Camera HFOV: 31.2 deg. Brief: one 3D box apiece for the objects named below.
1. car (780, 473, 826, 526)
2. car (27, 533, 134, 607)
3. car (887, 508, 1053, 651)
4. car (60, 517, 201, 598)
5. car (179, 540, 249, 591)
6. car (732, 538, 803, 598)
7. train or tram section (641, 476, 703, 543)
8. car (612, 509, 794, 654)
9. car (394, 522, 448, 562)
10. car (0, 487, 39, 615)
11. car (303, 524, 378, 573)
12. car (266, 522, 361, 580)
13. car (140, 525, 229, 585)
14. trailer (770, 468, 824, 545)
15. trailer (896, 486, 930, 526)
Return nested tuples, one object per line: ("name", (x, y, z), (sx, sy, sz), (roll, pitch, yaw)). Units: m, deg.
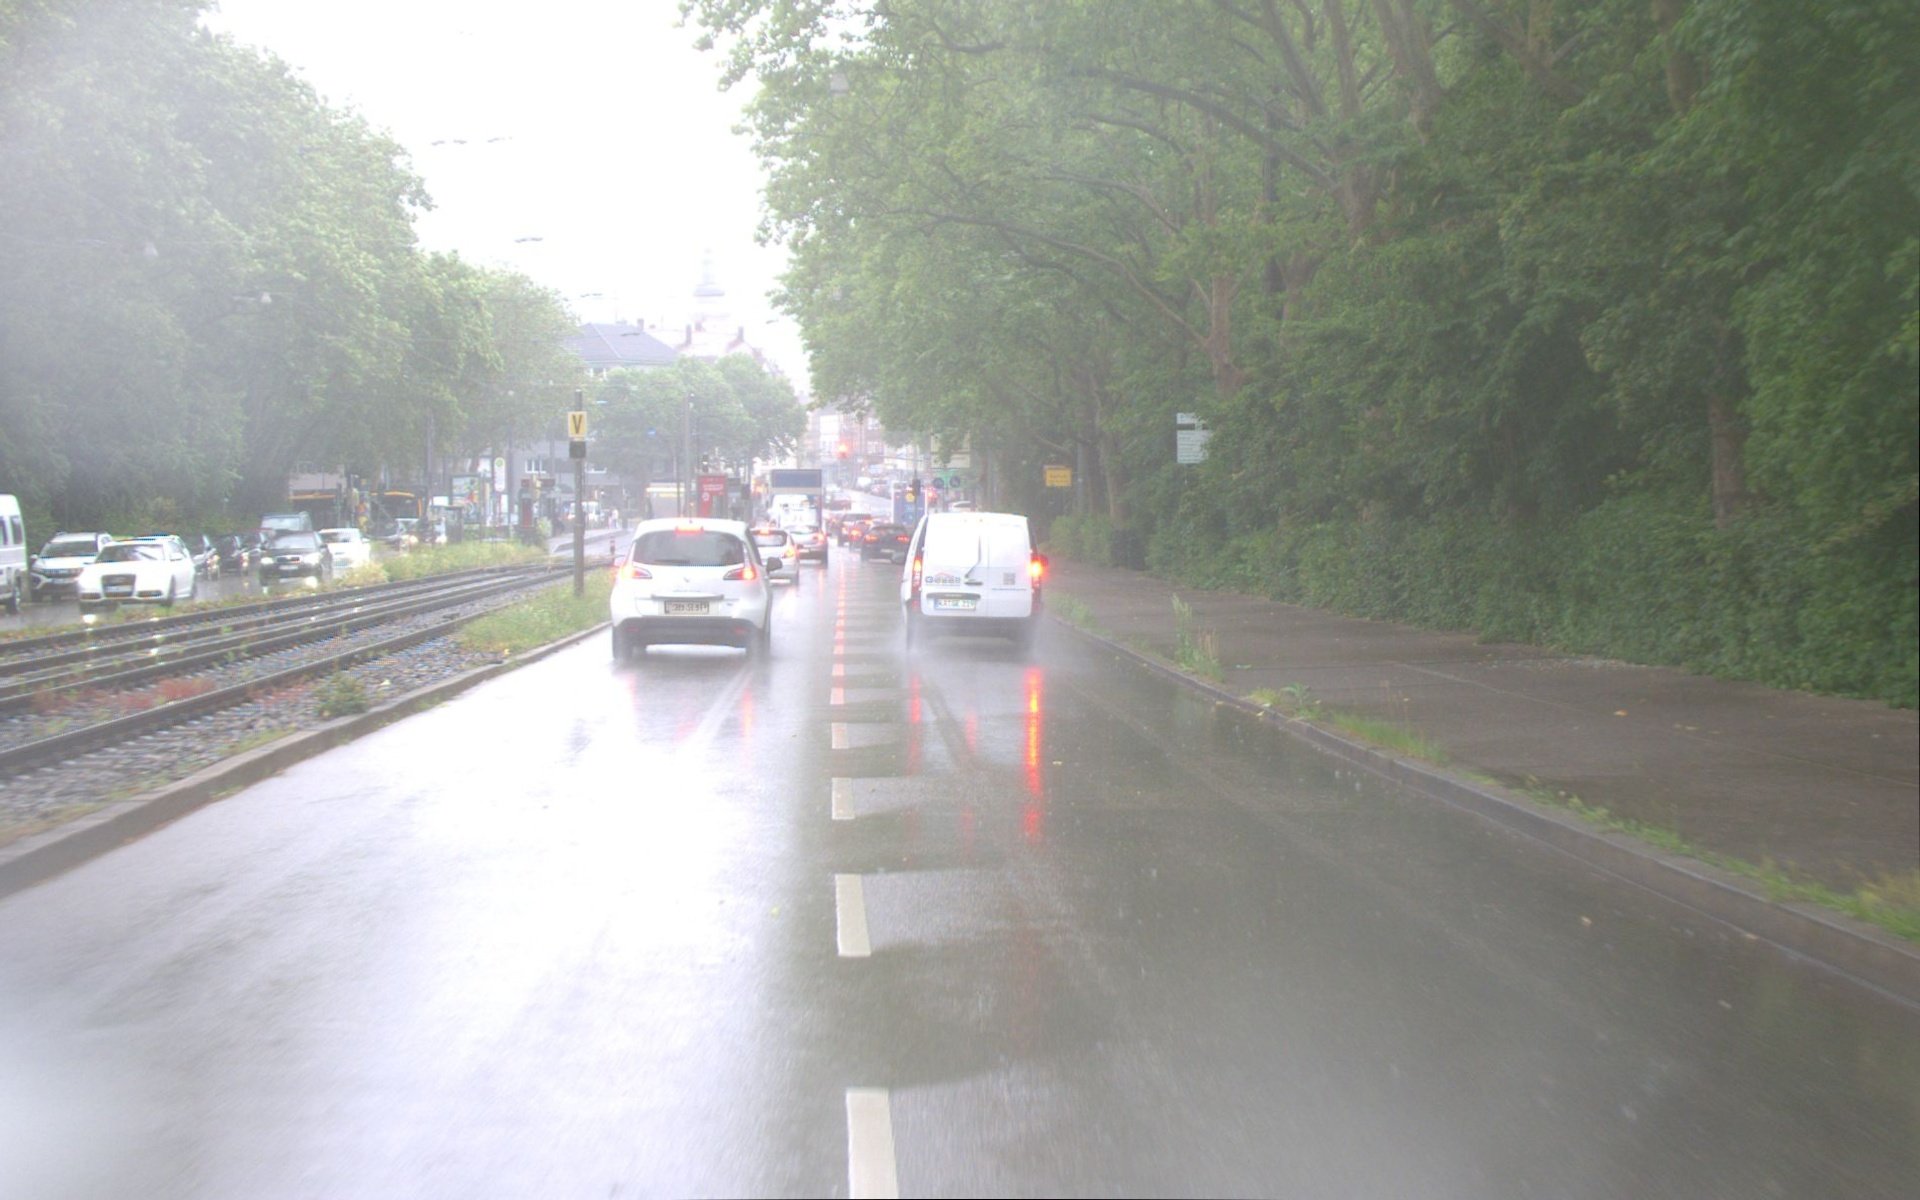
("car", (-7.028, -4.456, 153.598), (1.993, 2.254, 5.289), (1, 1, -3))
("car", (-21.409, -0.754, 83.815), (1.750, 1.722, 4.532), (-1, 1, -5))
("car", (0.091, -0.273, 44.972), (1.959, 1.771, 3.570), (1, 1, -3))
("car", (-16.880, -0.895, 70.173), (2.033, 1.547, 4.998), (-1, 1, -5))
("car", (-24.669, -1.159, 113.768), (2.031, 1.652, 4.611), (0, 1, -9))
("car", (-4.861, -0.818, 87.054), (1.725, 1.474, 3.806), (1, 1, -3))
("train or tram section", (-14.784, -4.725, 177.204), (2.961, 3.274, 8.362), (-1, 2, -4))
("car", (-3.013, -0.251, 41.052), (1.864, 1.618, 4.263), (1, 1, 0))
("car", (-24.173, -2.599, 154.251), (2.031, 1.745, 4.260), (-1, 1, -5))
("car", (-20.260, -0.956, 68.747), (2.389, 2.532, 6.568), (-1, 1, -5))
("car", (-20.415, -1.710, 113.411), (1.978, 1.561, 4.769), (0, 1, -5))
("car", (-18.180, -1.401, 96.873), (2.033, 1.547, 4.567), (-1, 1, -3))
("car", (-23.833, -1.401, 105.820), (2.031, 1.745, 4.695), (-1, 1, -5))
("trailer", (-8.496, -4.859, 178.836), (2.590, 3.886, 7.638), (1, 2, -4))
("trailer", (-2.887, -5.775, 211.507), (1.993, 2.309, 4.669), (1, 1, -2))
